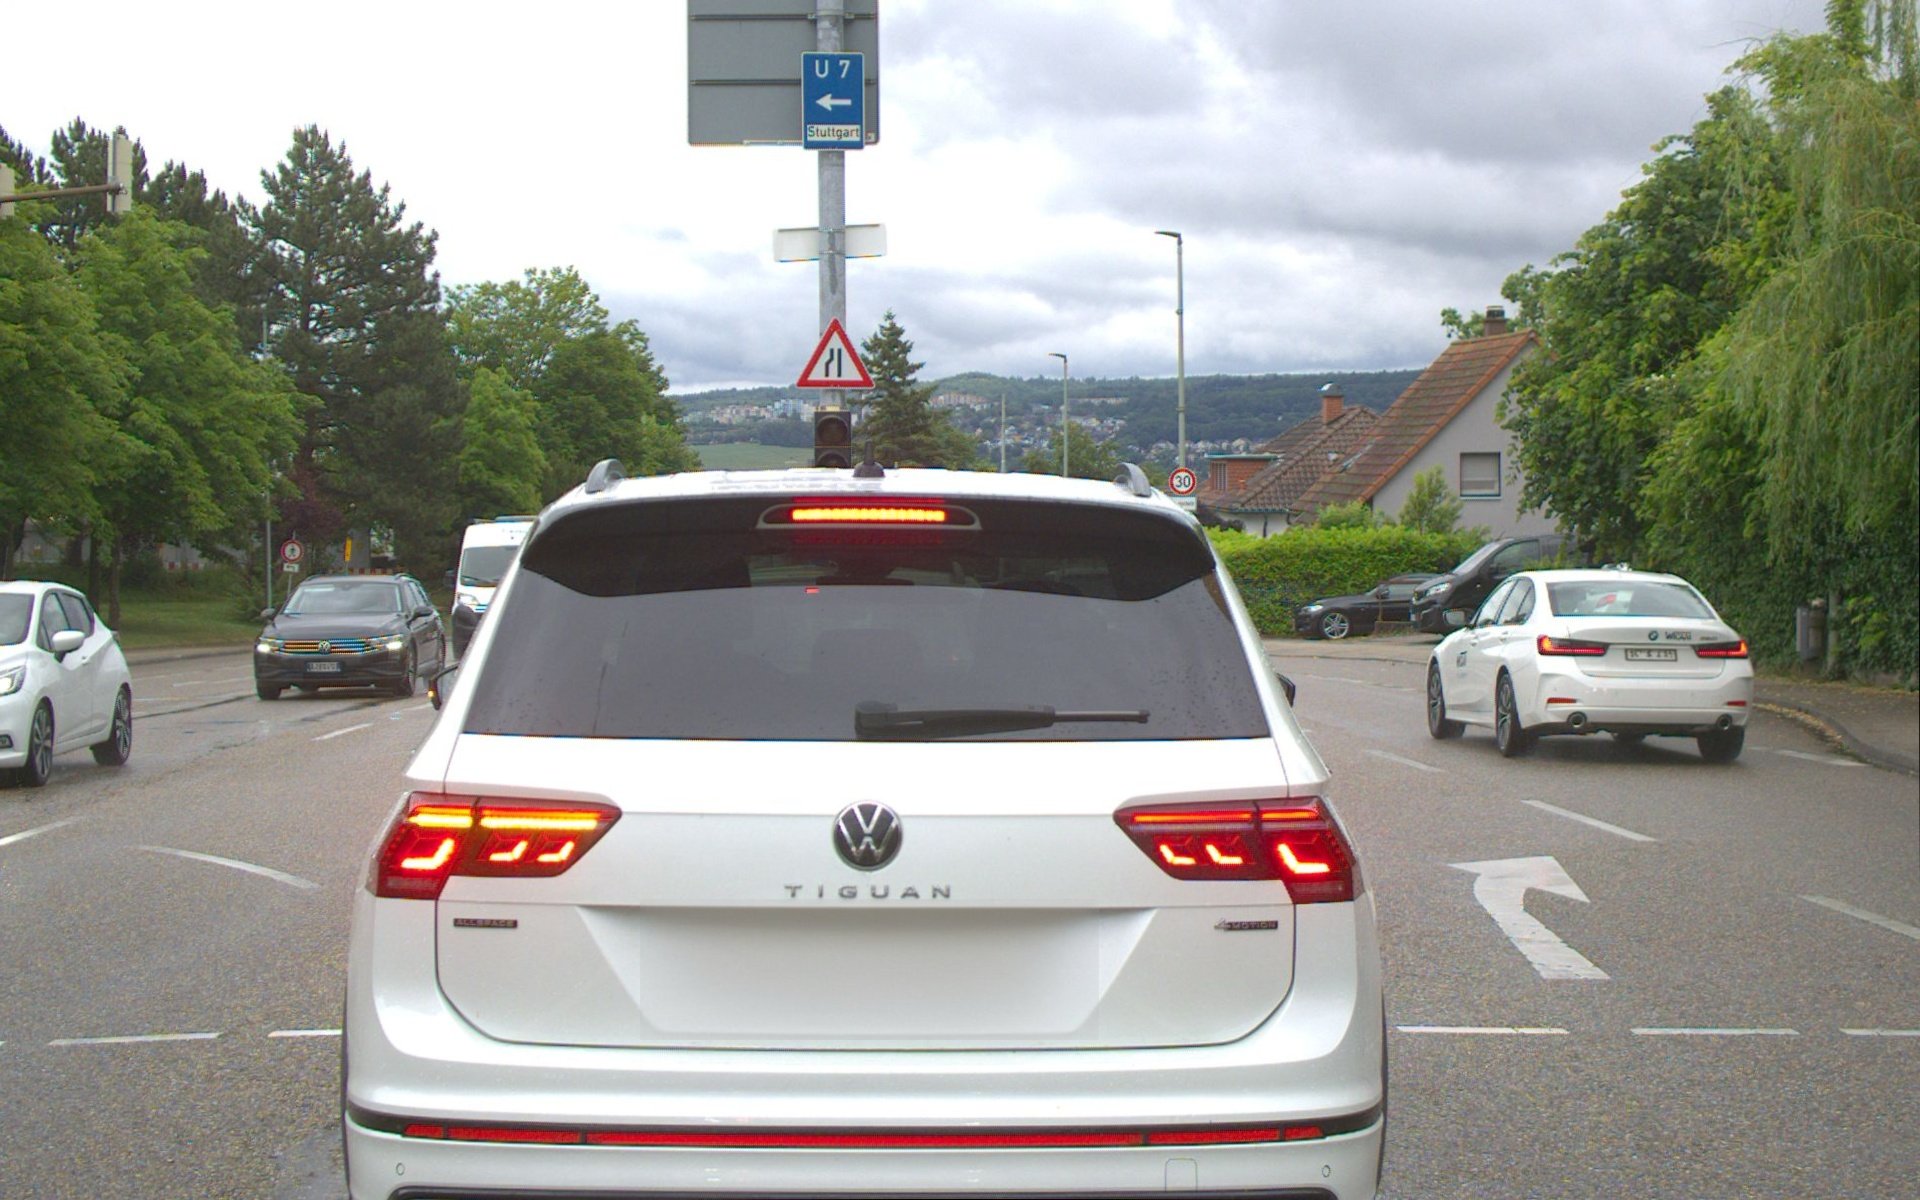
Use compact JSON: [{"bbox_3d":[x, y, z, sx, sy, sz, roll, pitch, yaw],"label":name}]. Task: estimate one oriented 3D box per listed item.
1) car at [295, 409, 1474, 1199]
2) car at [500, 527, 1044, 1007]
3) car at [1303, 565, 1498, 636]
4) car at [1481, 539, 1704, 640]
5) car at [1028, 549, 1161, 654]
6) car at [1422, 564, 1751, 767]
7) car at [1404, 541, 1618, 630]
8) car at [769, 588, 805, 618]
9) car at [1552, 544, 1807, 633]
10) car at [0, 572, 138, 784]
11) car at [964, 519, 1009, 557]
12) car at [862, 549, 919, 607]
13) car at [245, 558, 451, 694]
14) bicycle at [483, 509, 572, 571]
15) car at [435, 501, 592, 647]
[{"bbox_3d":[-0.175,0.547,7.387,1.763,1.690,4.273,2,1,-1],"label":"car"},{"bbox_3d":[-0.634,0.526,13.416,1.798,1.584,3.926,1,1,0],"label":"car"},{"bbox_3d":[8.847,0.012,69.256,3.687,1.365,1.519,1,-1,-2],"label":"car"},{"bbox_3d":[11.380,-0.199,61.984,3.627,1.740,1.708,0,3,-4],"label":"car"},{"bbox_3d":[2.109,-0.008,54.769,1.735,1.569,4.069,1,1,-3],"label":"car"},{"bbox_3d":[4.894,0.460,27.423,1.664,1.422,4.306,1,1,-2],"label":"car"},{"bbox_3d":[10.288,-0.270,64.299,3.627,1.620,1.791,0,0,-4],"label":"car"},{"bbox_3d":[-10.427,0.150,207.496,1.993,1.722,4.000,2,0,-1],"label":"car"},{"bbox_3d":[11.790,-0.181,56.473,3.713,1.390,1.729,-1,0,-7],"label":"car"},{"bbox_3d":[-7.279,0.514,25.026,1.746,1.392,3.802,0,1,-1],"label":"car"},{"bbox_3d":[1.110,-2.609,145.703,1.850,1.569,4.000,-1,1,0],"label":"car"},{"bbox_3d":[-2.186,-0.707,107.042,1.712,1.752,3.802,0,1,-2],"label":"car"},{"bbox_3d":[-7.387,0.271,41.868,1.775,1.497,4.472,-2,1,-2],"label":"car"},{"bbox_3d":[-8.359,-1.160,66.450,1.636,1.122,0.468,-2,2,-2],"label":"bicycle"},{"bbox_3d":[-8.147,-0.522,63.265,2.297,2.519,5.774,-1,1,-2],"label":"car"}]
